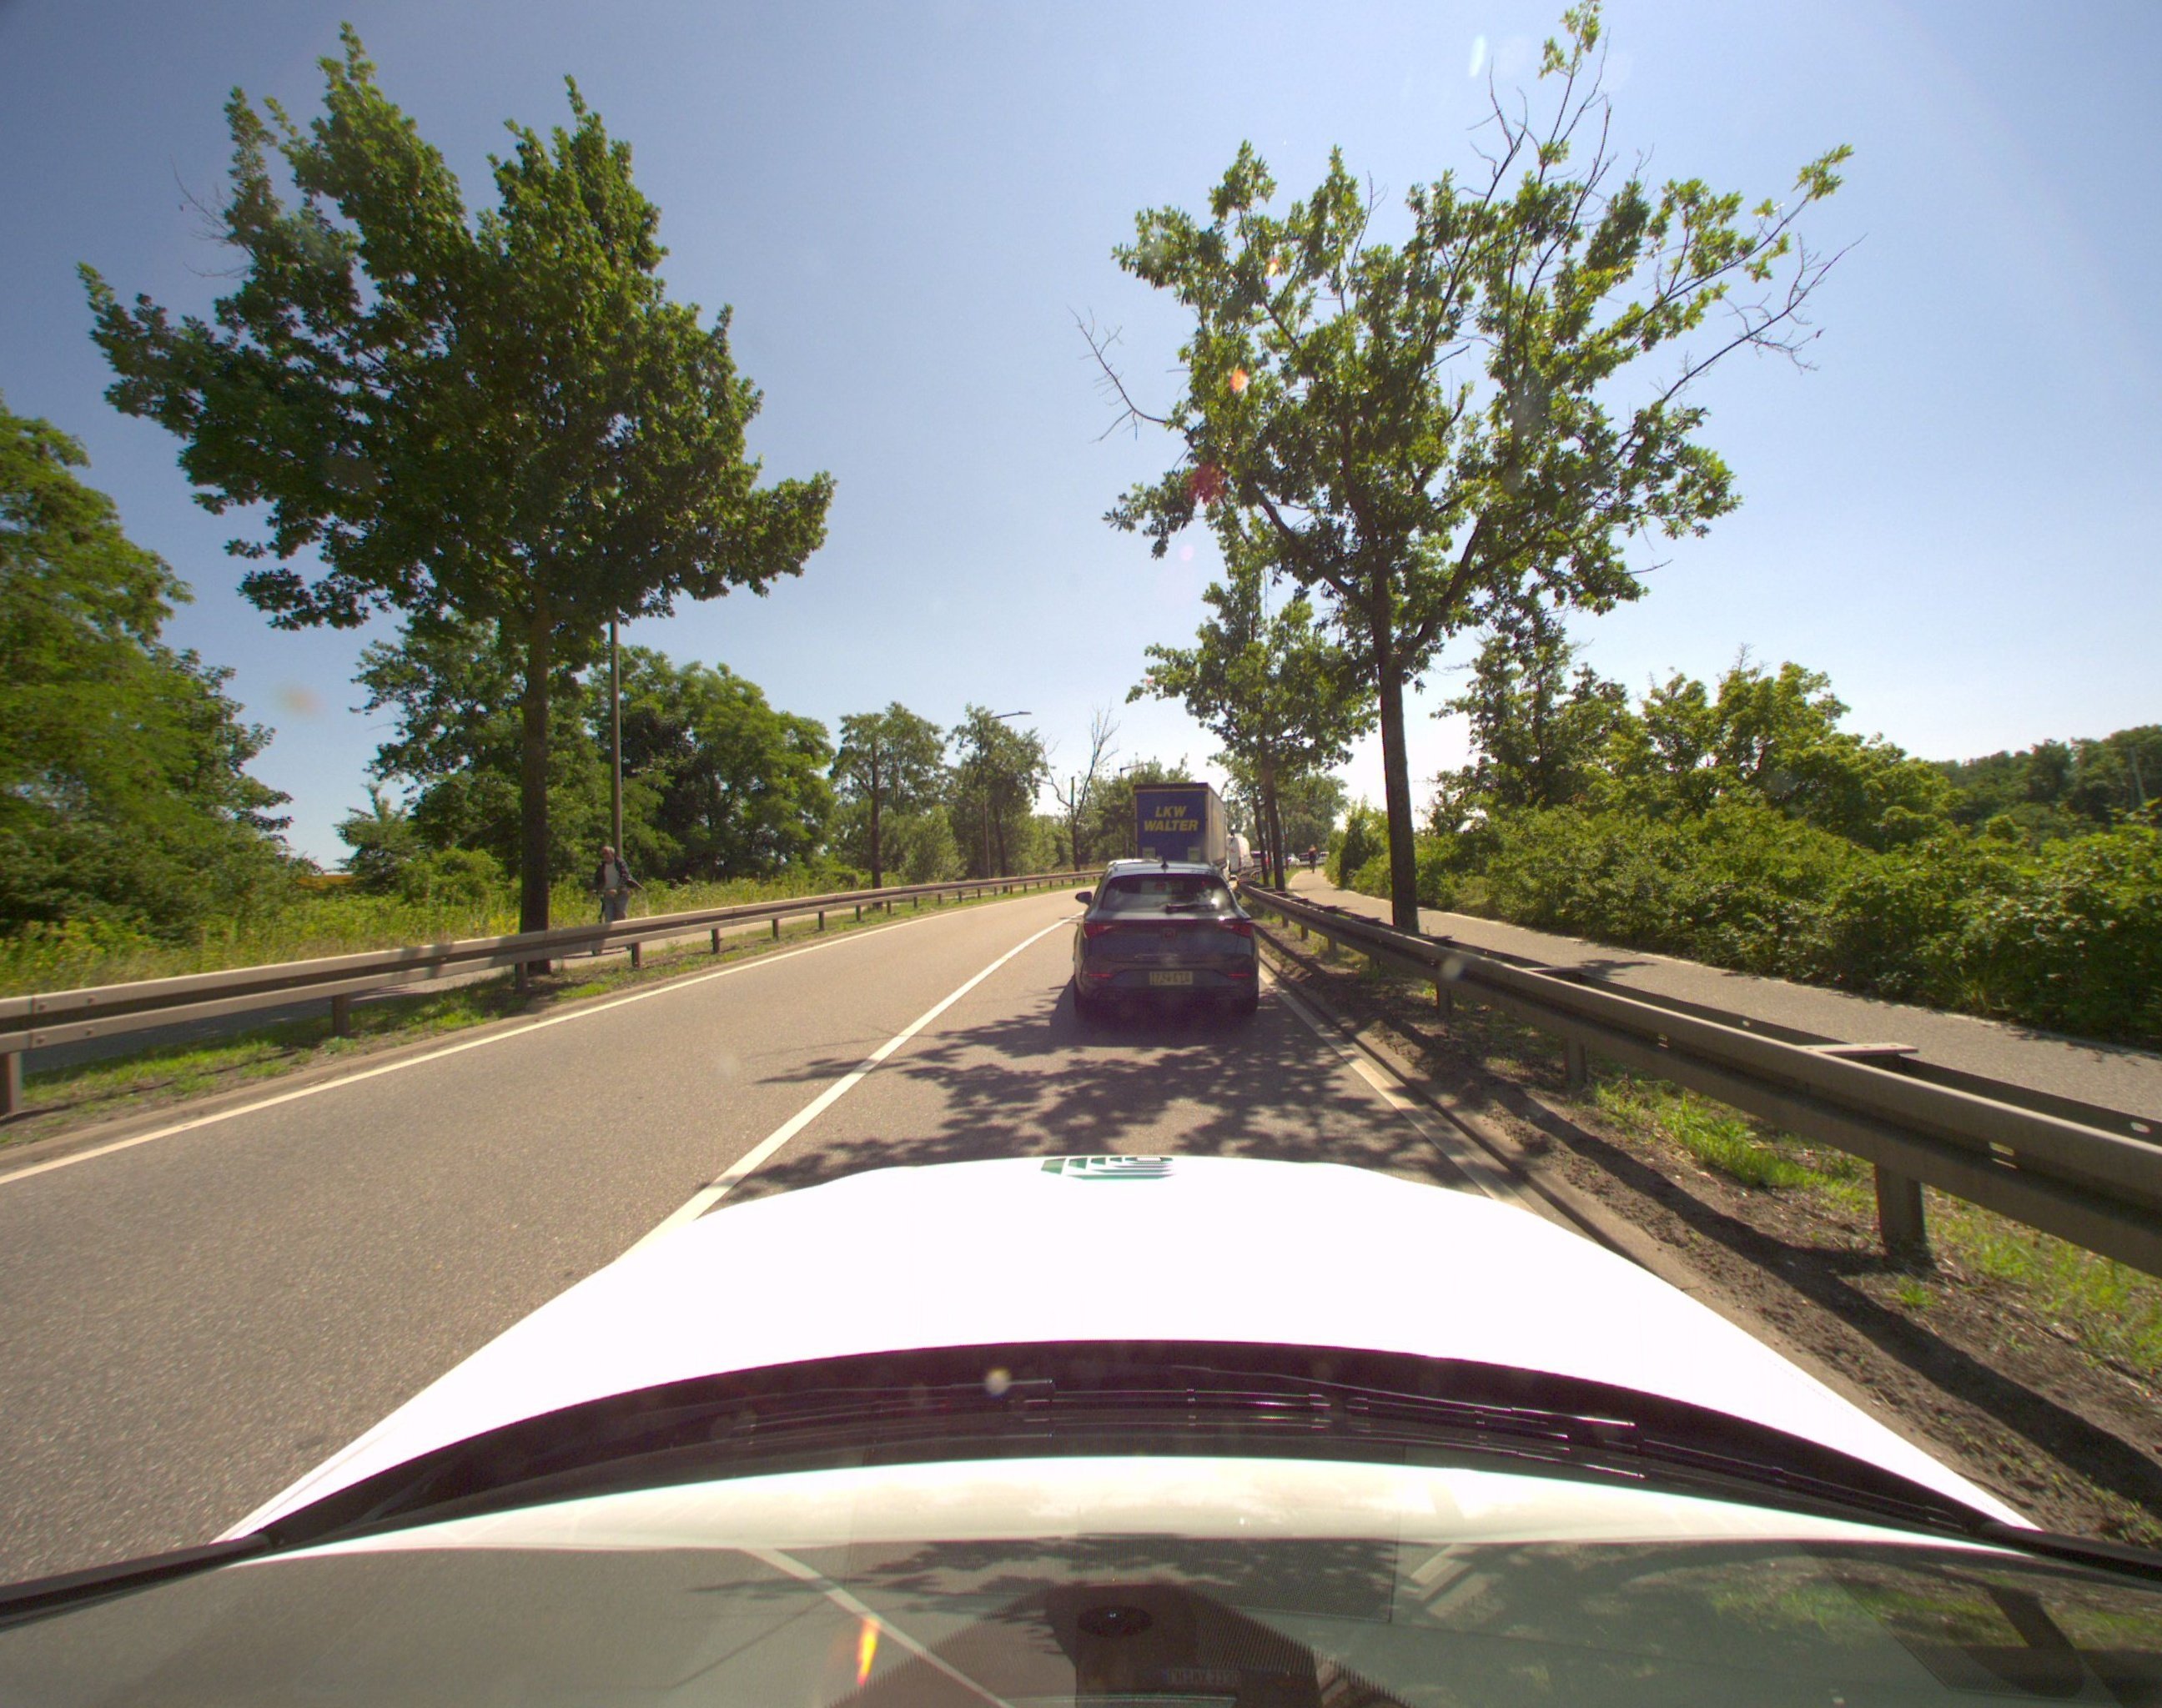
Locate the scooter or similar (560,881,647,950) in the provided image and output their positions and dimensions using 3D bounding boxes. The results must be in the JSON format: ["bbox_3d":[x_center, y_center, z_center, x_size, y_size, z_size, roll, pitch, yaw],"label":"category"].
[{"bbox_3d":[-8.083,1.020,13.838,0.773,1.091,1.097,-1,-1,6],"label":"scooter or similar"}]

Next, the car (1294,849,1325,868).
[{"bbox_3d":[21.755,0.456,77.350,1.975,1.717,4.897,-1,-1,26],"label":"car"}]

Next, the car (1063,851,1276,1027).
[{"bbox_3d":[0.758,0.713,8.655,1.738,1.432,3.880,-1,0,1],"label":"car"}]

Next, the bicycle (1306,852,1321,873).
[{"bbox_3d":[14.540,0.520,51.014,0.854,1.237,2.318,-1,-1,14],"label":"bicycle"}]

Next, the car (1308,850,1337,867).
[{"bbox_3d":[24.834,0.454,83.681,1.975,1.768,4.782,-1,-1,26],"label":"car"}]

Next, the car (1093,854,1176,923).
[{"bbox_3d":[1.315,0.771,19.972,1.801,1.508,4.004,-1,0,4],"label":"car"}]

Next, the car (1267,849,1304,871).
[{"bbox_3d":[17.355,0.518,68.977,1.975,1.808,4.874,-1,-1,26],"label":"car"}]

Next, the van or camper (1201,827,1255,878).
[{"bbox_3d":[9.322,-0.086,51.157,2.446,2.998,6.114,-1,-1,18],"label":"van or camper"}]

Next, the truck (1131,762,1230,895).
[{"bbox_3d":[4.872,-0.800,35.892,2.930,4.449,16.850,-1,0,11],"label":"truck"}]

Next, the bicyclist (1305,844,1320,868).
[{"bbox_3d":[14.505,0.123,50.939,0.854,1.523,0.984,-1,-1,14],"label":"bicyclist"}]

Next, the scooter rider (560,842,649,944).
[{"bbox_3d":[-8.090,0.647,13.872,0.773,1.657,1.123,-1,-1,7],"label":"scooter rider"}]

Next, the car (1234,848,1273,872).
[{"bbox_3d":[13.005,0.465,61.196,1.976,1.712,4.645,-1,0,23],"label":"car"}]
